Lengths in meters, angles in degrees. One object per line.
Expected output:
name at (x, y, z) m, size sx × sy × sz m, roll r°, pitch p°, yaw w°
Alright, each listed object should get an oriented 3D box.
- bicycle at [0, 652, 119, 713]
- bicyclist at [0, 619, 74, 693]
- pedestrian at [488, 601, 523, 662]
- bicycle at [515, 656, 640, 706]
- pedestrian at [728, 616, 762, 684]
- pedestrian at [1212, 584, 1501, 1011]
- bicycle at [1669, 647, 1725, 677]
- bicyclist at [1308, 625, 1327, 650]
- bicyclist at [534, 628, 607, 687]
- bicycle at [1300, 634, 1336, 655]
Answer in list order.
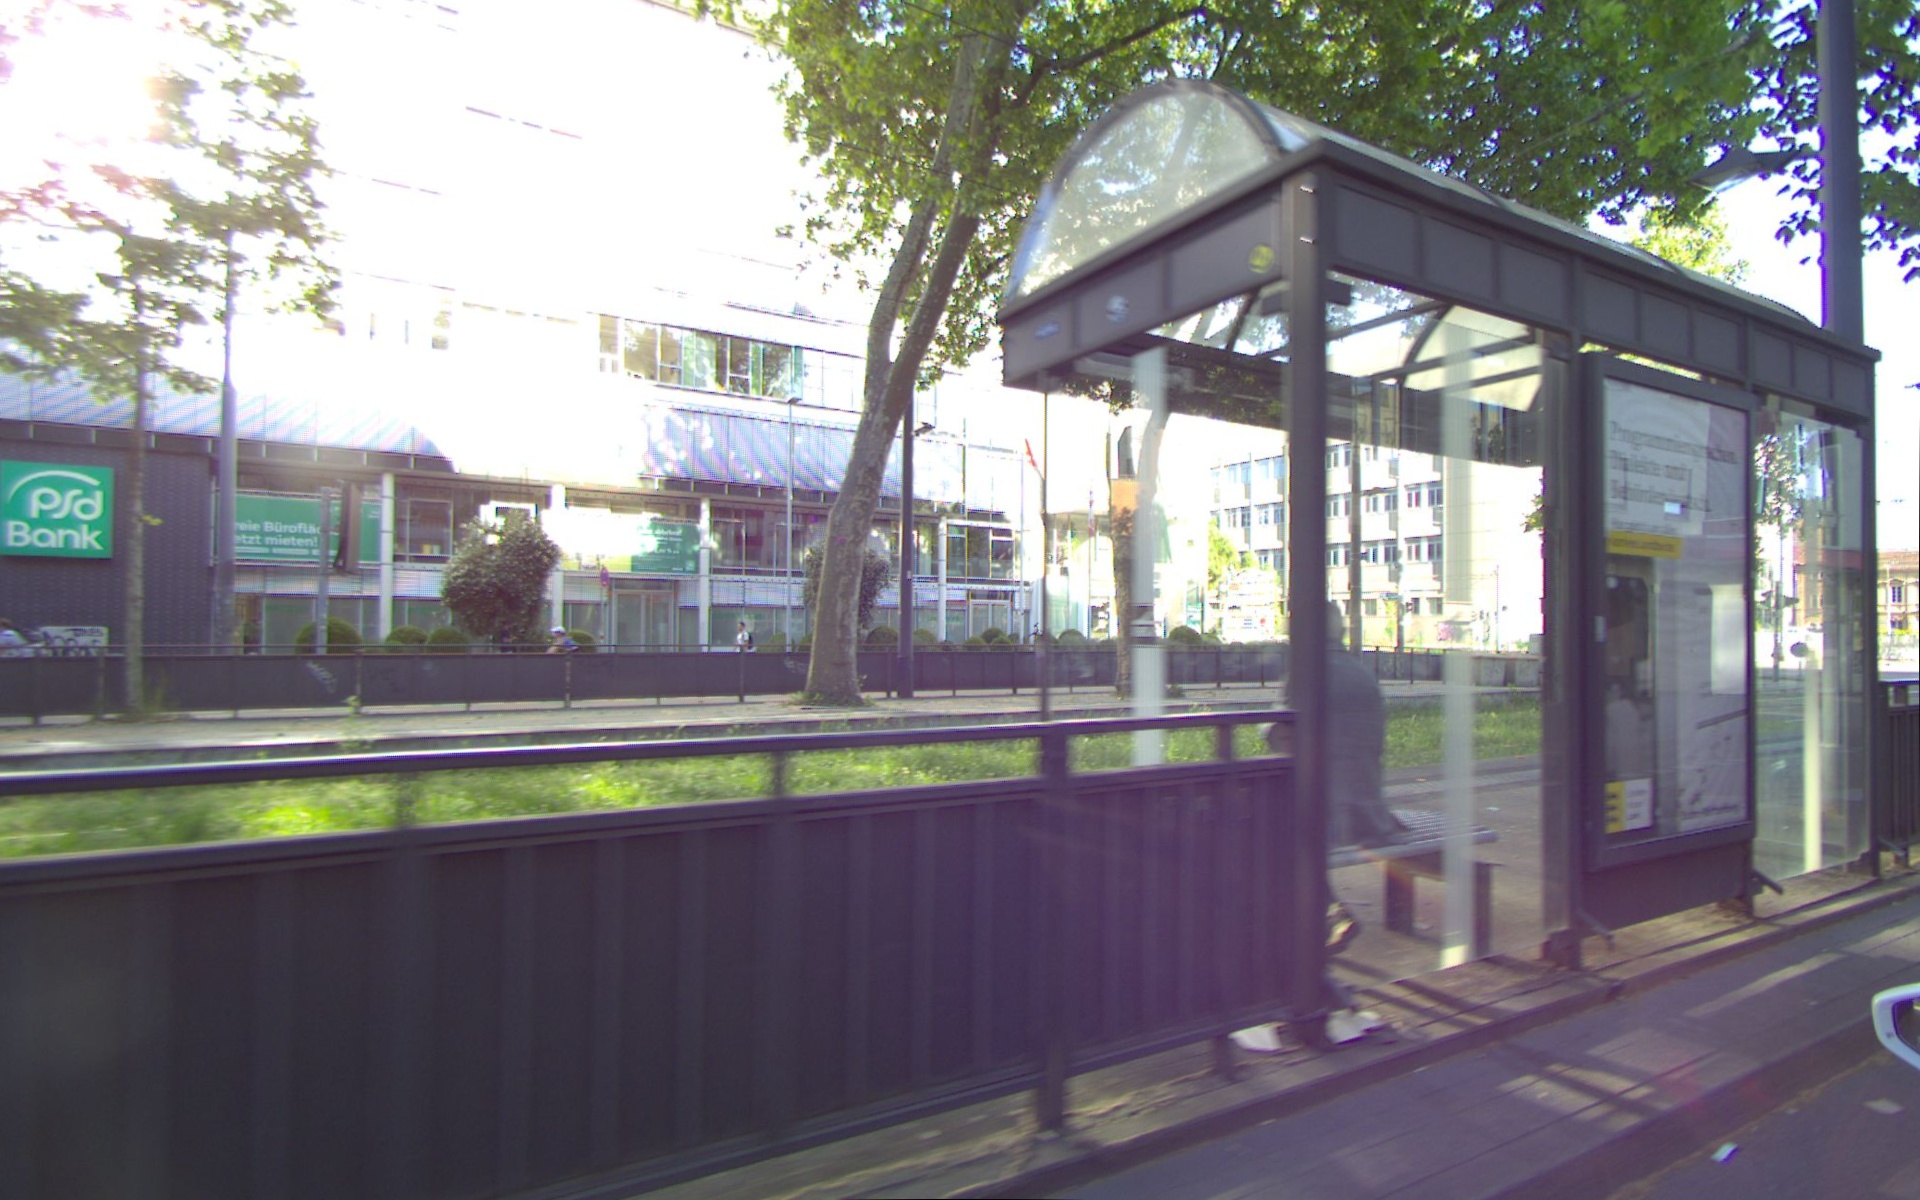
bicycle at (-16.809, 1.475, 18.010) m, size 2.558 × 1.010 × 0.795 m, roll 1°, pitch 0°, yaw -34°
bicyclist at (-16.866, 0.981, 17.979) m, size 1.359 × 1.267 × 0.998 m, roll 1°, pitch 0°, yaw -33°
pedestrian at (-12.292, 0.862, 27.164) m, size 0.759 × 1.613 × 0.901 m, roll 1°, pitch -2°, yaw -31°
bicycle at (-8.668, 1.806, 22.826) m, size 2.558 × 1.010 × 0.795 m, roll 1°, pitch 0°, yaw -34°
pedestrian at (-6.535, 1.502, 30.523) m, size 0.825 × 2.003 × 0.602 m, roll 1°, pitch 0°, yaw -33°
pedestrian at (1.423, 0.633, 3.630) m, size 0.792 × 1.337 × 0.623 m, roll 1°, pitch -1°, yaw -30°
bicycle at (25.006, 2.086, 34.077) m, size 1.702 × 0.958 × 0.810 m, roll 1°, pitch -2°, yaw -25°
bicyclist at (21.448, 2.243, 60.313) m, size 0.869 × 1.514 × 0.719 m, roll 0°, pitch -1°, yaw 42°
bicyclist at (-8.817, 1.283, 22.743) m, size 1.359 × 1.267 × 0.998 m, roll 1°, pitch 0°, yaw -33°
bicycle at (21.474, 2.685, 60.277) m, size 2.014 × 1.205 × 0.587 m, roll 0°, pitch -2°, yaw 43°
